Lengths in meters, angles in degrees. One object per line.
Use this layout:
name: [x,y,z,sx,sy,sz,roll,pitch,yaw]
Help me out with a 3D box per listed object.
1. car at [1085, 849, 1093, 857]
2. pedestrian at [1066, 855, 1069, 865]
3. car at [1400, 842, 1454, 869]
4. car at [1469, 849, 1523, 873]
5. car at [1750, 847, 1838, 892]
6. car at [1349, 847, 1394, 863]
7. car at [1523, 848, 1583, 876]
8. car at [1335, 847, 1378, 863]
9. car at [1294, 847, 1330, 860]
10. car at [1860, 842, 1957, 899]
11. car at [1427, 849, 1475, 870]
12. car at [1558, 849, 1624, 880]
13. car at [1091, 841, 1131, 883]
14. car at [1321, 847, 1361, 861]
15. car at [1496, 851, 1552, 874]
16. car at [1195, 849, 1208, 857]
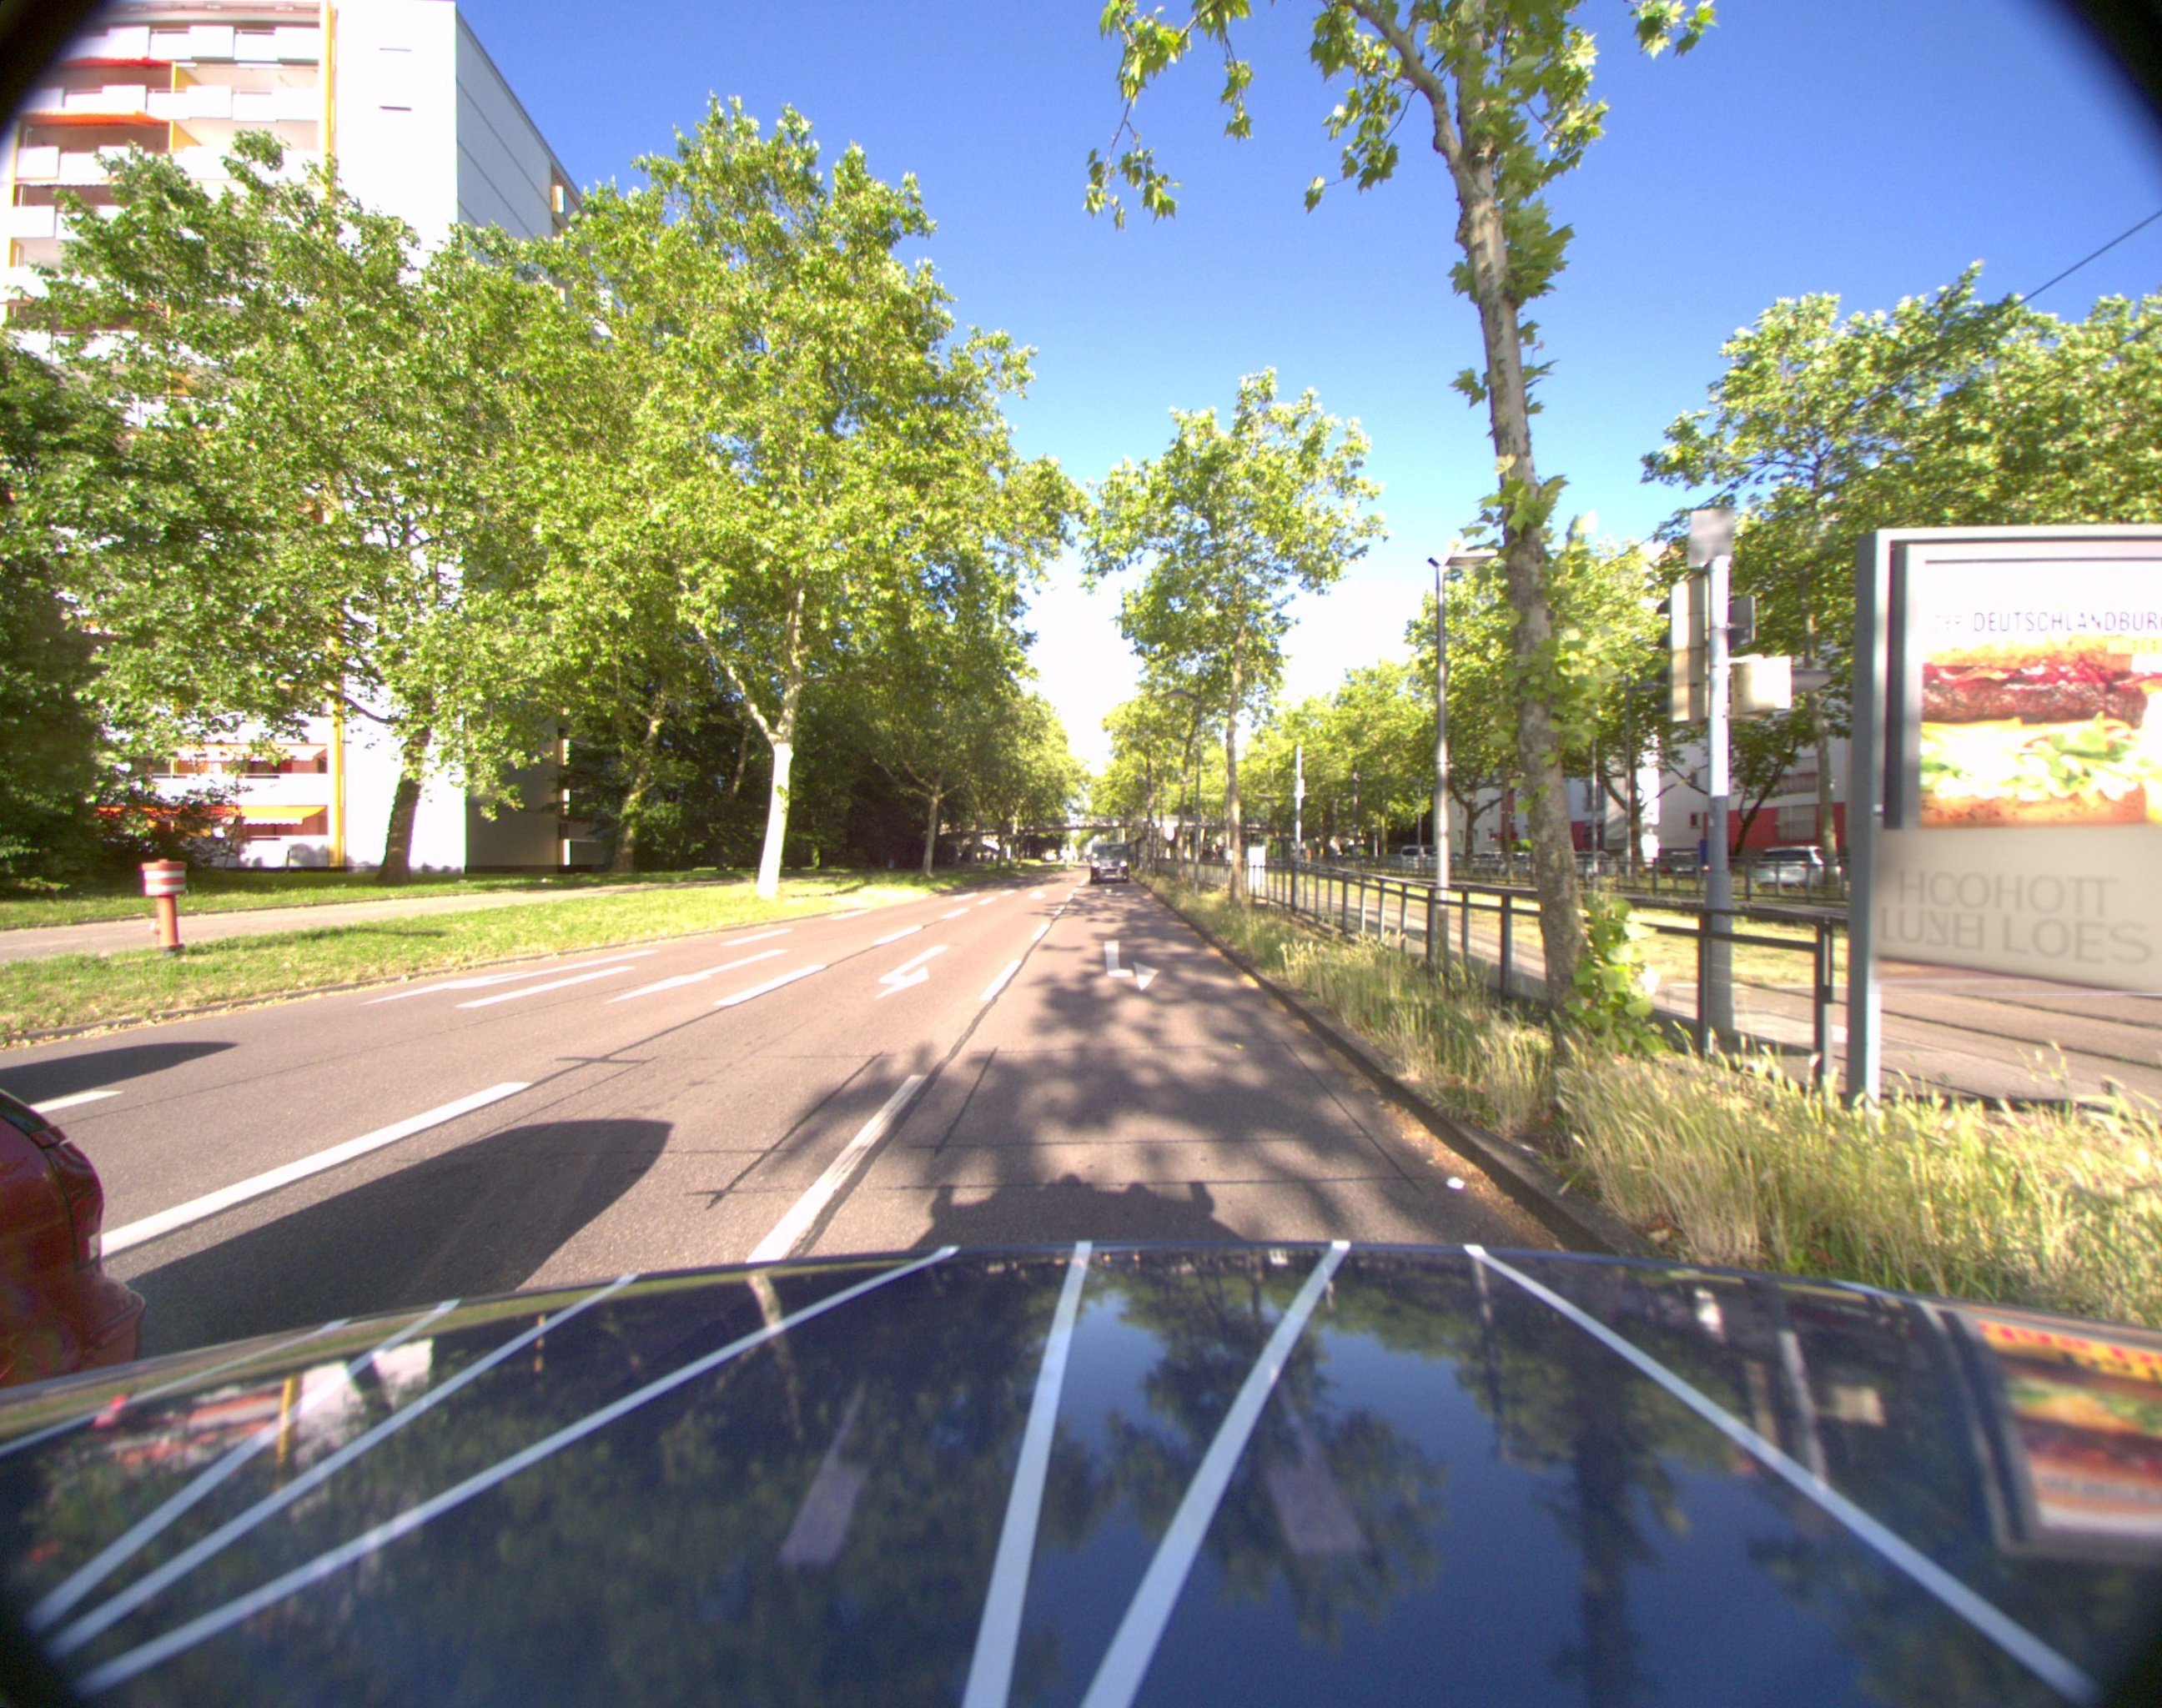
car: [2.116,-0.227,207.450,2.040,1.995,5.113,-2,0,1]
pedestrian: [-1.792,0.812,102.719,0.398,1.454,0.417,-1,1,-3]
car: [25.962,0.081,56.975,4.376,1.873,1.919,-1,1,-39]
car: [25.958,0.411,47.478,3.689,1.440,1.645,-1,1,-39]
car: [25.057,0.491,26.669,3.689,1.425,1.683,-1,1,-38]
car: [26.910,0.100,70.232,4.376,1.367,1.919,-1,1,-39]
car: [25.812,0.425,41.501,3.689,1.440,1.645,-1,1,-39]
car: [26.590,0.095,73.261,4.376,1.367,1.919,-1,1,-39]
car: [27.204,-0.064,89.411,4.376,1.367,1.919,-1,1,-39]
car: [25.018,0.458,22.943,3.689,1.558,1.683,-1,1,-38]
car: [26.247,0.343,53.881,3.689,1.388,1.645,-1,1,-39]
car: [25.331,0.497,37.673,3.689,1.384,1.645,-1,1,-38]
car: [1.574,0.382,41.549,2.040,2.102,5.113,-2,0,1]
car: [27.245,0.020,79.558,4.376,1.367,1.919,-1,1,-39]
car: [26.201,0.478,44.943,3.689,1.234,1.645,-1,1,-39]
car: [22.254,-0.186,140.652,1.923,1.565,4.368,-1,0,2]
